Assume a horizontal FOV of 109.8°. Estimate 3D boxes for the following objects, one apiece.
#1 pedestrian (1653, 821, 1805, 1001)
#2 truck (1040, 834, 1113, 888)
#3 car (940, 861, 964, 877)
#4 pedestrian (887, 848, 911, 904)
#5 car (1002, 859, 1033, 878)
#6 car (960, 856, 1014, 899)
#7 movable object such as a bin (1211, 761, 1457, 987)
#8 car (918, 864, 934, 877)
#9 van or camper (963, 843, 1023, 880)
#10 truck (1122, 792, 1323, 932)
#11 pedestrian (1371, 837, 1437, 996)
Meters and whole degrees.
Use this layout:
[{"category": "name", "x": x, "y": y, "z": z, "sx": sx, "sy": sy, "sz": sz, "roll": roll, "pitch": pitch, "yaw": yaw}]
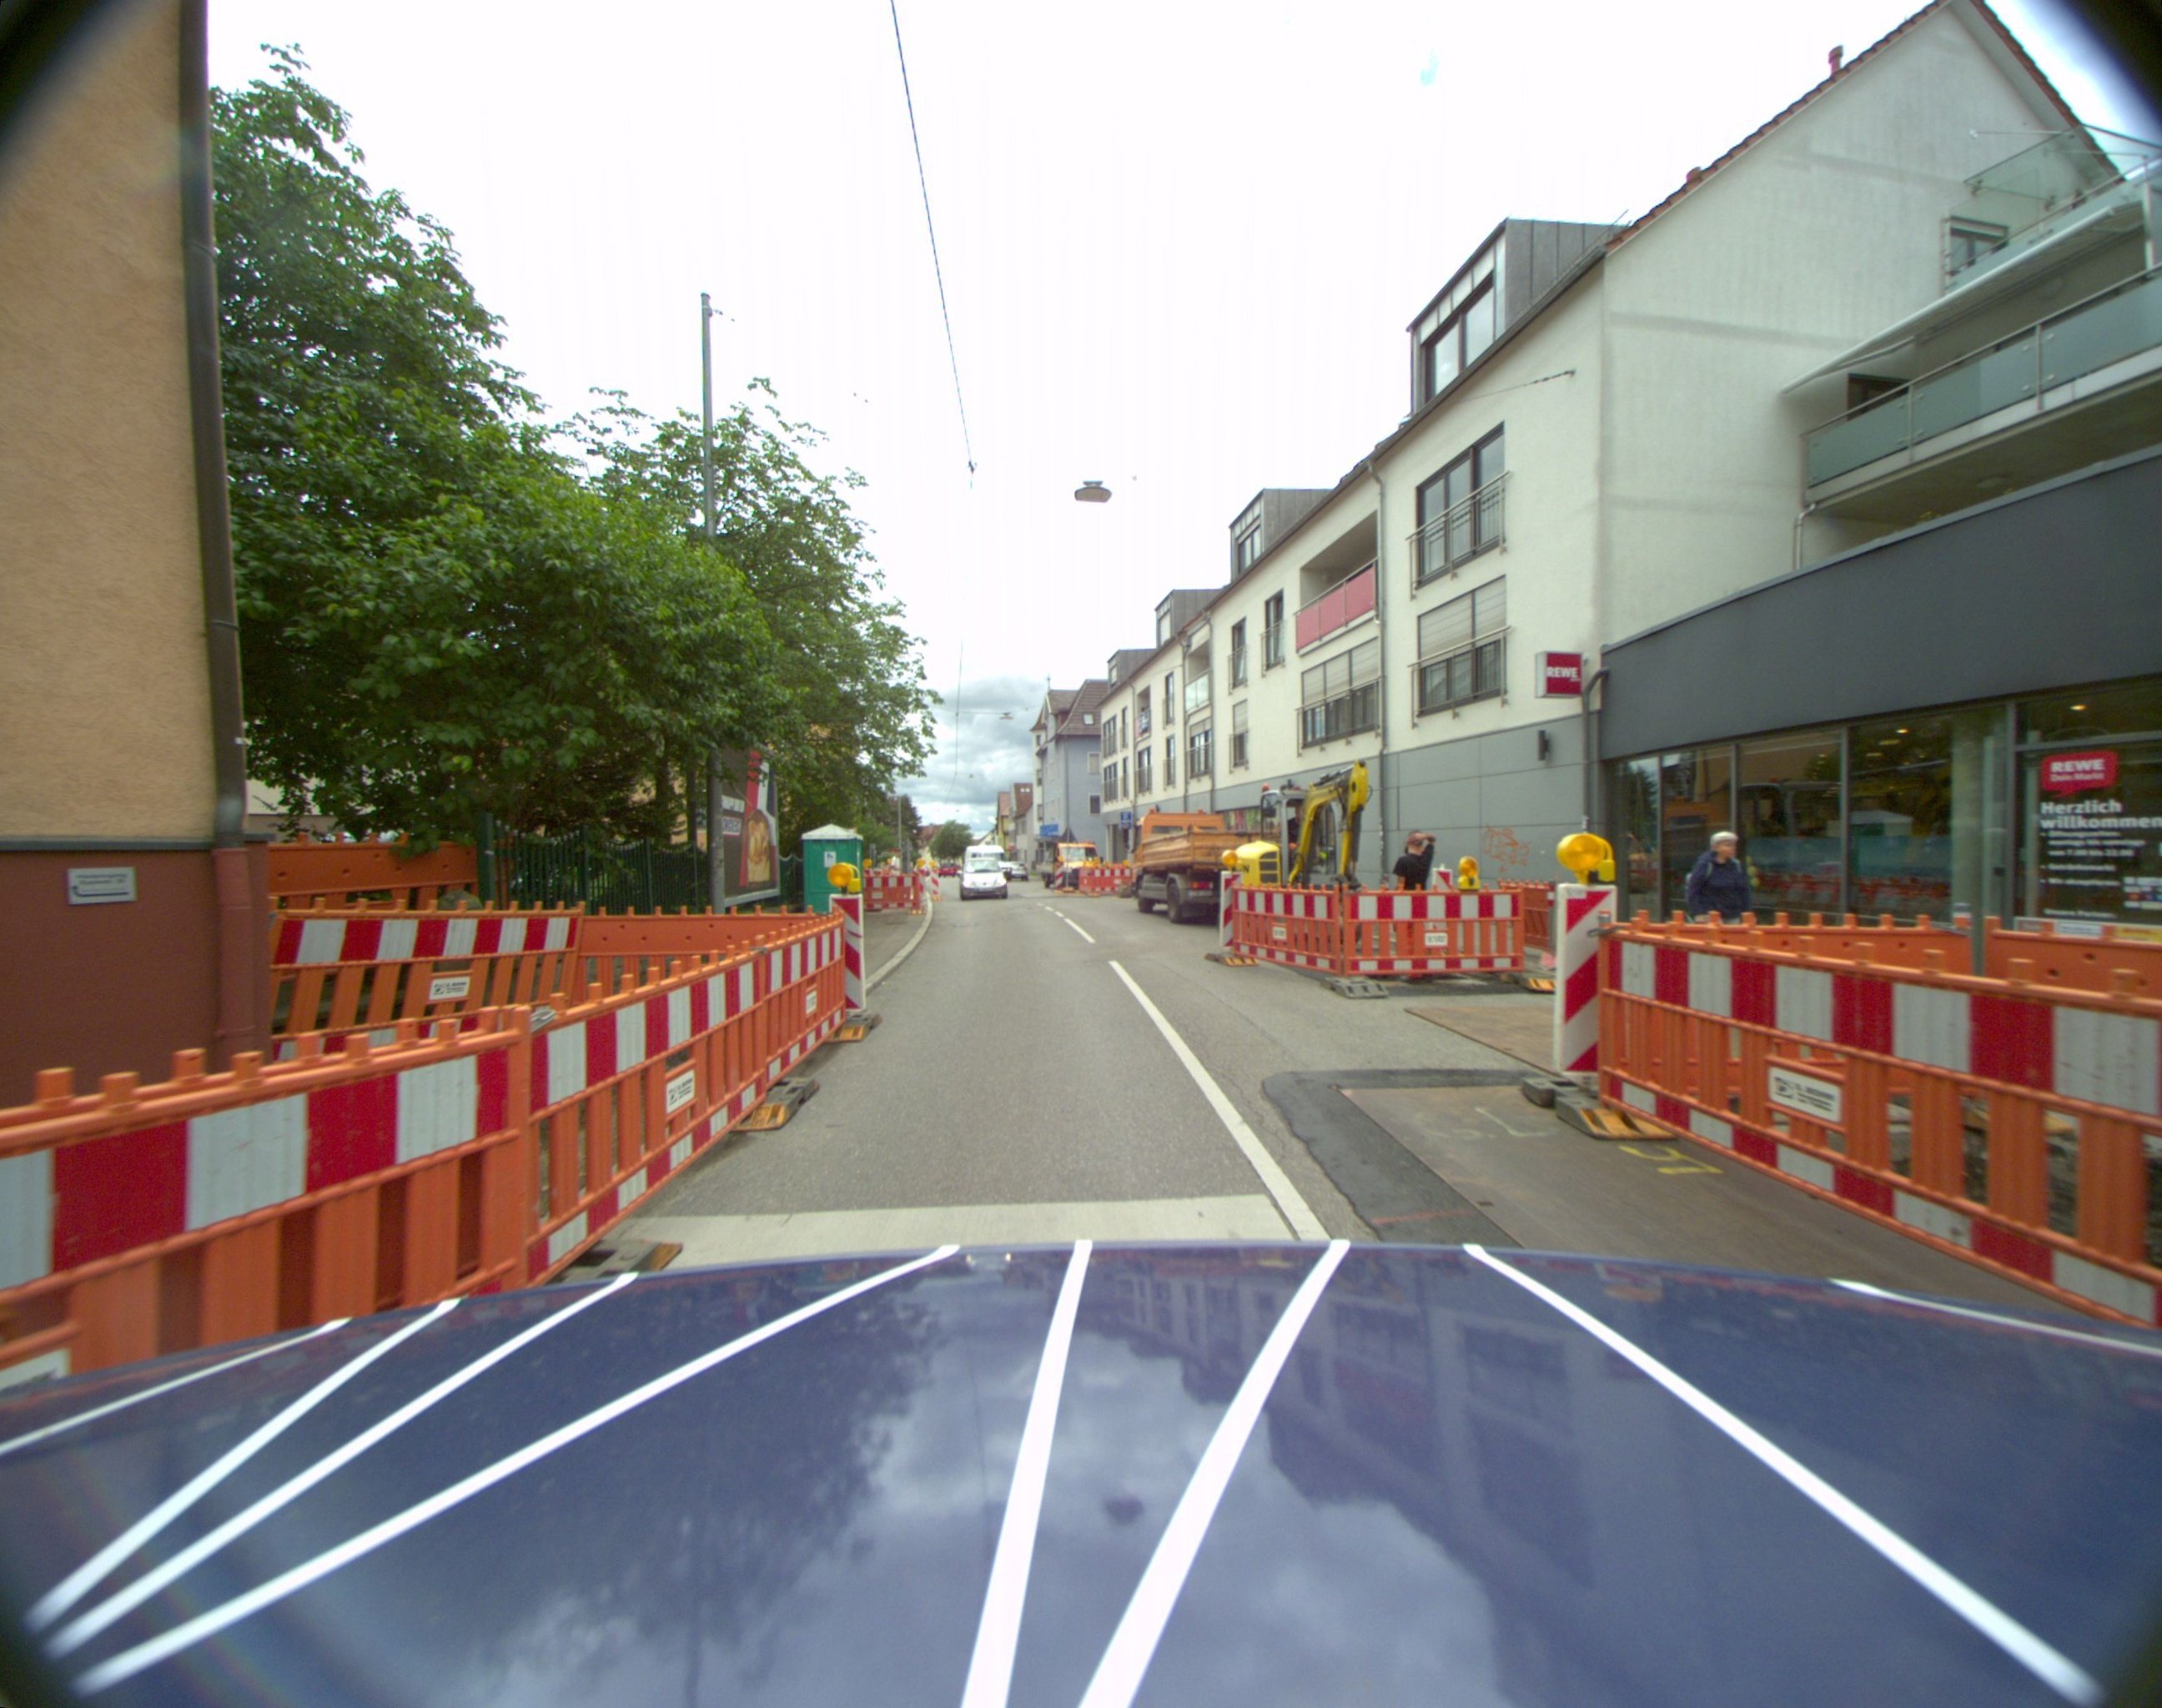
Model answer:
[{"category": "pedestrian", "x": 6.475, "y": 0.545, "z": 7.640, "sx": 0.834, "sy": 1.702, "sz": 0.815, "roll": -1, "pitch": 1, "yaw": -2}, {"category": "truck", "x": -0.363, "y": 0.344, "z": 37.593, "sx": 2.422, "sy": 2.451, "sz": 6.301, "roll": 0, "pitch": -1, "yaw": -11}, {"category": "car", "x": -12.959, "y": 1.475, "z": 76.440, "sx": 1.819, "sy": 1.511, "sz": 2.940, "roll": -1, "pitch": 0, "yaw": 1}, {"category": "pedestrian", "x": -6.414, "y": 0.773, "z": 26.730, "sx": 0.801, "sy": 1.938, "sz": 0.835, "roll": 0, "pitch": 0, "yaw": -13}, {"category": "car", "x": -4.925, "y": 1.109, "z": 58.520, "sx": 1.804, "sy": 1.403, "sz": 3.995, "roll": 0, "pitch": -1, "yaw": -14}, {"category": "car", "x": -3.762, "y": 0.881, "z": 29.755, "sx": 1.860, "sy": 1.547, "sz": 4.348, "roll": 0, "pitch": -1, "yaw": -10}, {"category": "movable object such as a bin", "x": 3.515, "y": 0.193, "z": 11.588, "sx": 1.845, "sy": 2.748, "sz": 4.502, "roll": -1, "pitch": 1, "yaw": -6}, {"category": "car", "x": -18.191, "y": 1.871, "z": 89.292, "sx": 1.720, "sy": 1.472, "sz": 3.997, "roll": -1, "pitch": 0, "yaw": -9}, {"category": "van or camper", "x": -6.542, "y": 0.560, "z": 55.669, "sx": 2.330, "sy": 2.592, "sz": 6.194, "roll": 0, "pitch": 0, "yaw": -27}, {"category": "truck", "x": 2.976, "y": 0.163, "z": 18.290, "sx": 2.740, "sy": 2.709, "sz": 6.843, "roll": -1, "pitch": 0, "yaw": -8}, {"category": "pedestrian", "x": 3.632, "y": 0.683, "z": 8.567, "sx": 0.539, "sy": 1.734, "sz": 0.443, "roll": -1, "pitch": 1, "yaw": -4}]
